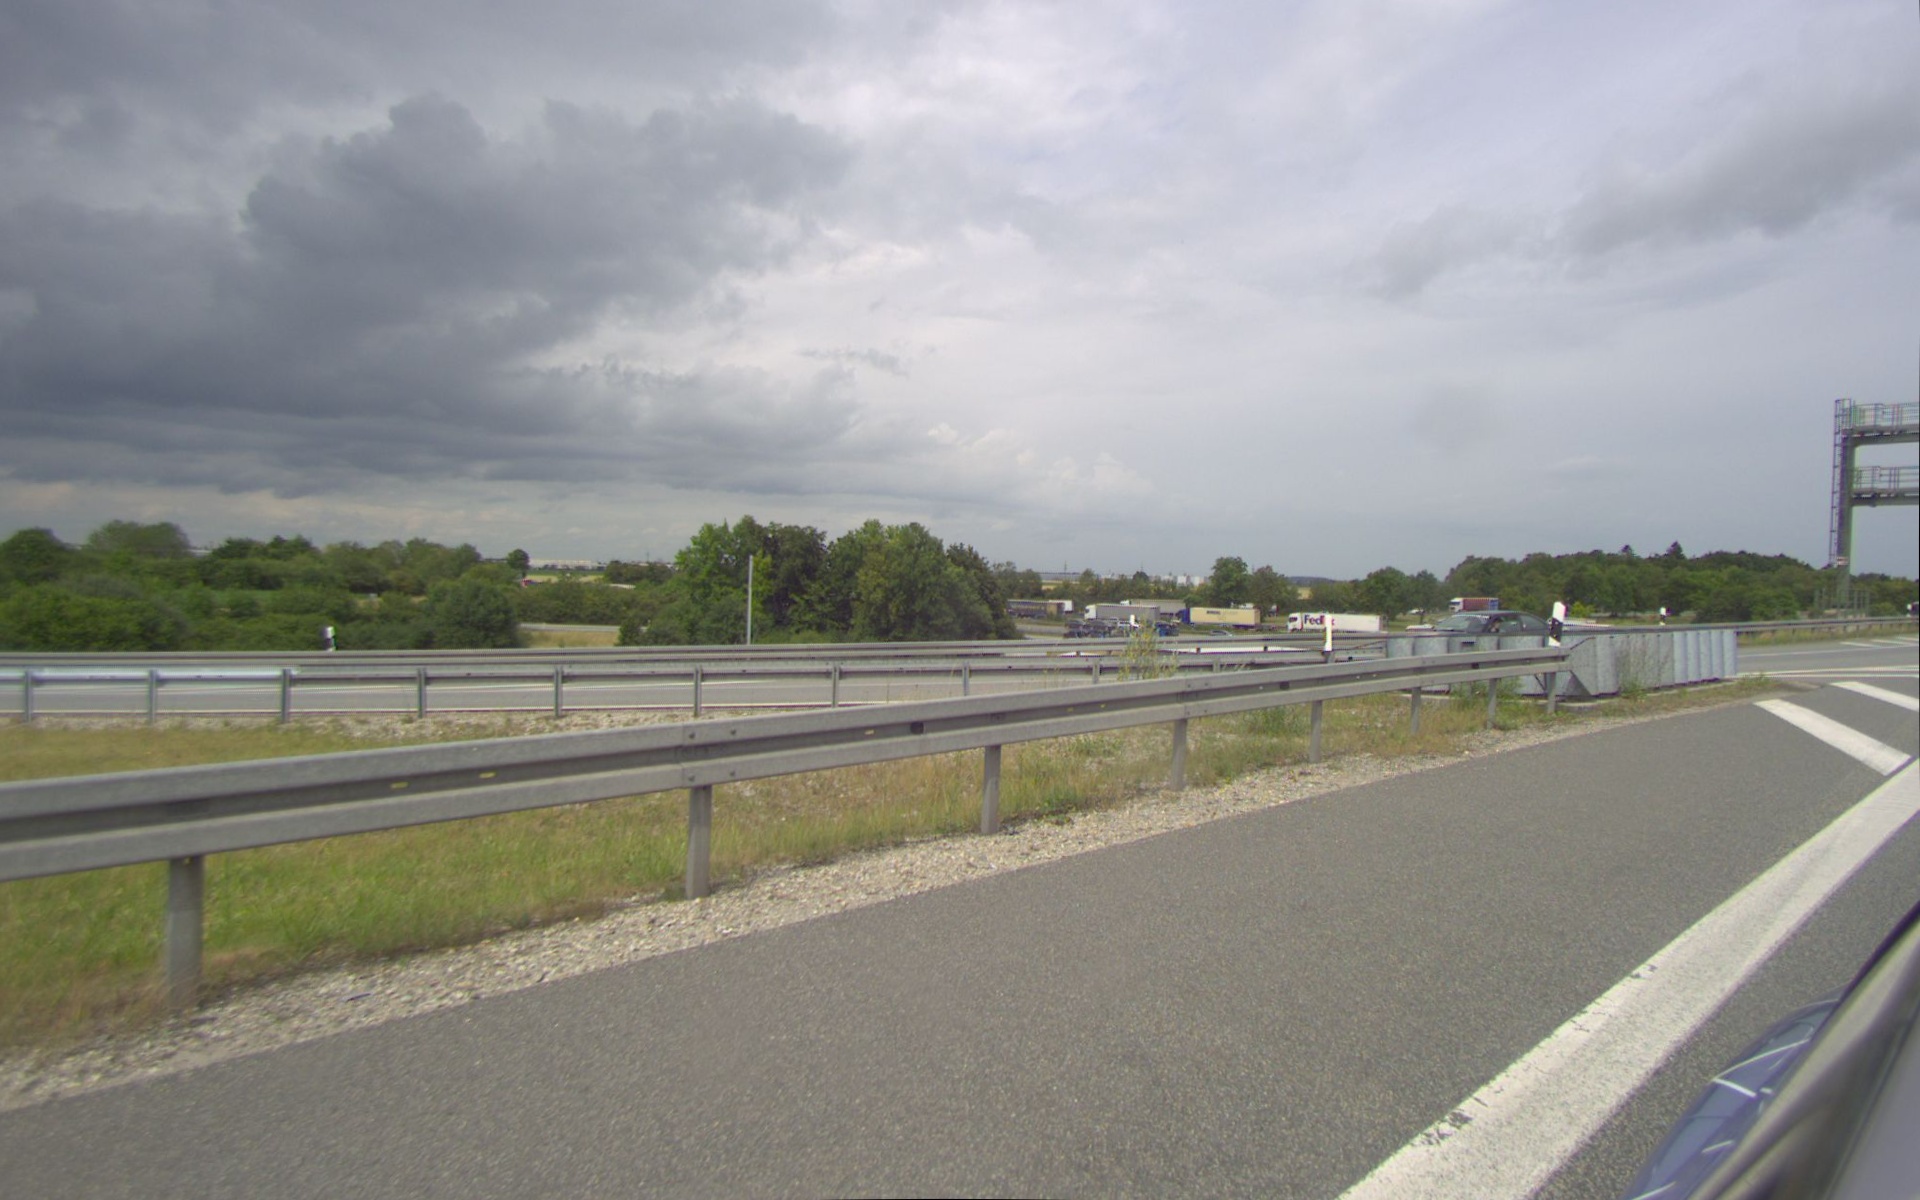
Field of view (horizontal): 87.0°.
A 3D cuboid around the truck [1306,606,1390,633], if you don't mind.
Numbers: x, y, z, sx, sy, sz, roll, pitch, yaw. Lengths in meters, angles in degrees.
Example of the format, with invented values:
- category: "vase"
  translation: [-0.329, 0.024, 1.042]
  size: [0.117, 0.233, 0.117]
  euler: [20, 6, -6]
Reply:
- category: "truck"
  translation: [69.882, 3.494, 182.471]
  size: [13.718, 4.612, 3.953]
  euler: [0, -1, 38]

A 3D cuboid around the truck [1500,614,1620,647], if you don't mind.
- category: "truck"
  translation: [95.931, 4.716, 162.139]
  size: [16.094, 4.759, 3.937]
  euler: [0, 0, 40]

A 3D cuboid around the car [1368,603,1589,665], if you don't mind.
- category: "car"
  translation: [11.722, 0.758, 22.971]
  size: [4.275, 1.297, 1.712]
  euler: [1, -1, -10]

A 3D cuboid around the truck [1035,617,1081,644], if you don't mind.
- category: "truck"
  translation: [15.831, 4.843, 163.508]
  size: [6.379, 4.041, 3.813]
  euler: [0, 1, 36]

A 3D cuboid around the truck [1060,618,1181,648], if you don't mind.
- category: "truck"
  translation: [24.643, 4.972, 157.124]
  size: [18.929, 4.111, 3.942]
  euler: [0, 0, 36]

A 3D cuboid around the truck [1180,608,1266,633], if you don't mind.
- category: "truck"
  translation: [51.190, 3.917, 197.602]
  size: [16.281, 4.612, 3.952]
  euler: [0, -1, 39]

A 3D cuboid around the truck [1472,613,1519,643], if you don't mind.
- category: "truck"
  translation: [88.816, 4.571, 167.894]
  size: [6.260, 4.734, 3.878]
  euler: [0, 0, 38]

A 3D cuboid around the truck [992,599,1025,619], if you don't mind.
- category: "truck"
  translation: [11.007, 2.013, 228.965]
  size: [6.469, 4.555, 4.013]
  euler: [0, -1, 40]

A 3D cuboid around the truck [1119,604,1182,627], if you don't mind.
- category: "truck"
  translation: [46.278, 3.748, 246.793]
  size: [14.580, 5.281, 3.859]
  euler: [1, -1, 2]

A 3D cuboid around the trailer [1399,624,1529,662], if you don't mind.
- category: "trailer"
  translation: [62.382, 5.223, 125.662]
  size: [14.174, 4.152, 2.948]
  euler: [1, 0, 39]

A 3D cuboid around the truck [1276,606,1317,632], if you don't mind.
- category: "truck"
  translation: [62.571, 3.493, 188.315]
  size: [6.261, 4.568, 3.877]
  euler: [0, -1, 39]

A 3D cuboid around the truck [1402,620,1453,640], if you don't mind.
- category: "truck"
  translation: [78.452, 4.984, 169.810]
  size: [7.528, 3.238, 2.201]
  euler: [0, -1, 39]

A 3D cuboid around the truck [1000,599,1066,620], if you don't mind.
- category: "truck"
  translation: [16.059, 2.081, 224.628]
  size: [15.236, 4.612, 3.949]
  euler: [0, -1, 40]

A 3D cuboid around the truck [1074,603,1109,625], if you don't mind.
- category: "truck"
  translation: [28.023, 3.027, 215.646]
  size: [6.262, 4.568, 3.877]
  euler: [0, -1, 39]

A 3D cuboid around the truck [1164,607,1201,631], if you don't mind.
- category: "truck"
  translation: [44.602, 3.806, 202.880]
  size: [6.260, 4.568, 3.878]
  euler: [0, -1, 38]

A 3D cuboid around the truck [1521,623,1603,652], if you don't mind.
- category: "truck"
  translation: [93.690, 5.805, 157.573]
  size: [10.715, 4.123, 3.199]
  euler: [0, -1, 36]

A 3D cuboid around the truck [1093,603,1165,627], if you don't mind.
- category: "truck"
  translation: [35.006, 3.073, 209.950]
  size: [14.812, 4.612, 3.951]
  euler: [0, -1, 40]
